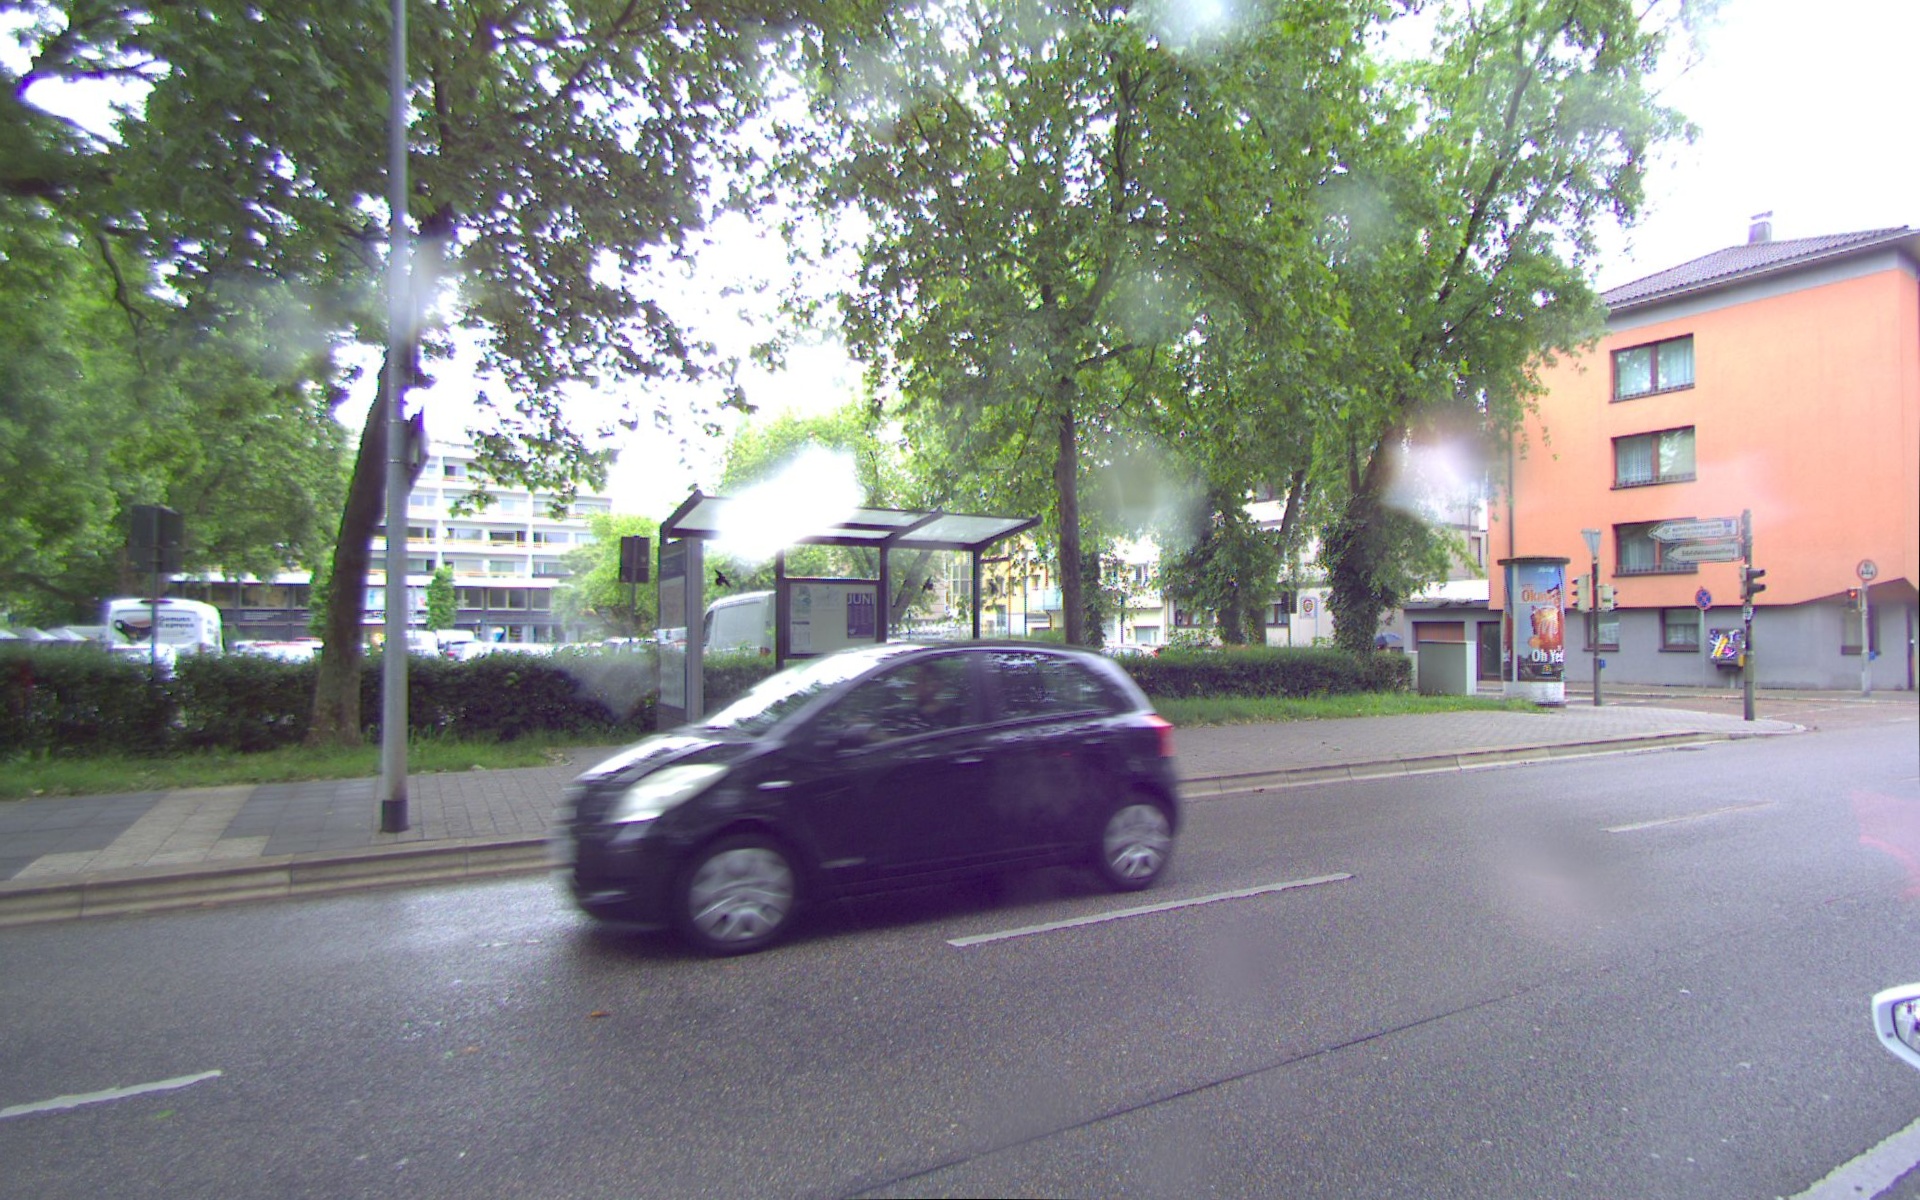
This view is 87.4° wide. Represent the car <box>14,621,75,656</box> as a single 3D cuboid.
[{"bbox_3d":[-40.918,1.691,44.925,1.412,1.447,2.941,1,0,-30],"label":"car"}]

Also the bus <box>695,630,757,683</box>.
[{"bbox_3d":[-7.836,1.866,33.515,1.363,1.698,2.779,1,-3,-28],"label":"bus"}]

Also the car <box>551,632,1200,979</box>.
[{"bbox_3d":[-0.436,0.973,5.971,3.525,1.507,1.560,1,-4,-30],"label":"car"}]

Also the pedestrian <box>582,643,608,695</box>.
[{"bbox_3d":[-8.884,1.678,24.465,0.462,1.229,0.434,2,0,-37],"label":"pedestrian"}]

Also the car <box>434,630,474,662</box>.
[{"bbox_3d":[-27.291,2.455,54.117,1.622,1.544,3.174,2,0,-32],"label":"car"}]

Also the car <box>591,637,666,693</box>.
[{"bbox_3d":[-9.118,1.747,27.497,1.375,1.454,3.248,1,-3,-29],"label":"car"}]

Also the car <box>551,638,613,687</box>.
[{"bbox_3d":[-11.964,1.943,31.673,1.375,1.454,3.248,1,-3,-29],"label":"car"}]

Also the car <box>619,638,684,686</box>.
[{"bbox_3d":[-9.999,1.979,32.466,1.375,1.454,3.248,1,-3,-29],"label":"car"}]

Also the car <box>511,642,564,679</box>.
[{"bbox_3d":[-17.429,2.462,41.397,1.587,1.447,3.293,2,-3,-30],"label":"car"}]

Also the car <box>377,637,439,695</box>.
[{"bbox_3d":[-14.739,1.730,26.843,1.375,1.454,3.248,1,-3,-29],"label":"car"}]

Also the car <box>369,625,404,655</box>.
[{"bbox_3d":[-33.092,2.267,57.942,1.622,1.544,3.174,1,1,-32],"label":"car"}]

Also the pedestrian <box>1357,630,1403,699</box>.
[{"bbox_3d":[11.344,1.713,27.090,0.977,1.765,1.207,1,0,30],"label":"pedestrian"}]

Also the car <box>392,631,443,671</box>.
[{"bbox_3d":[-20.907,1.946,38.680,1.587,1.447,3.293,2,-3,-30],"label":"car"}]

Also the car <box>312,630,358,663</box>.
[{"bbox_3d":[-31.428,2.313,50.576,1.818,1.444,3.799,2,0,-31],"label":"car"}]

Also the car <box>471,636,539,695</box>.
[{"bbox_3d":[-12.096,1.712,26.641,1.375,1.454,3.248,1,-3,-29],"label":"car"}]

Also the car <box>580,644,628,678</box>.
[{"bbox_3d":[-15.204,2.580,42.821,1.332,1.401,3.141,2,-3,-30],"label":"car"}]

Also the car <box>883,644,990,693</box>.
[{"bbox_3d":[-0.840,2.227,33.510,1.799,1.536,3.965,2,-3,-33],"label":"car"}]

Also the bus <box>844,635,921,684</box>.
[{"bbox_3d":[-2.469,1.850,31.542,1.364,1.451,2.777,2,-3,-30],"label":"bus"}]

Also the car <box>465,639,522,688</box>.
[{"bbox_3d":[-14.548,1.944,31.273,1.375,1.454,3.248,1,-3,-29],"label":"car"}]

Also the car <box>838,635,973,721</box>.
[{"bbox_3d":[-1.217,1.576,21.180,1.492,1.544,3.174,2,0,-32],"label":"car"}]

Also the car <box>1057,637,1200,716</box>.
[{"bbox_3d":[3.798,1.686,23.034,1.492,1.544,3.174,2,0,-32],"label":"car"}]

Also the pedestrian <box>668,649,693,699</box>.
[{"bbox_3d":[-7.016,1.850,25.201,0.462,1.229,0.434,2,0,-37],"label":"pedestrian"}]

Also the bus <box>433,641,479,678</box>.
[{"bbox_3d":[-22.378,2.611,44.563,1.587,1.559,3.403,2,-3,-30],"label":"bus"}]

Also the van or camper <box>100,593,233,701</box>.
[{"bbox_3d":[-20.704,1.227,26.414,2.074,2.570,4.391,1,-3,-30],"label":"van or camper"}]

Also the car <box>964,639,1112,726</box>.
[{"bbox_3d":[1.577,1.661,21.163,1.492,1.544,3.174,2,0,-32],"label":"car"}]

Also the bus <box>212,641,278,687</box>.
[{"bbox_3d":[-25.555,2.272,36.008,1.587,1.559,3.403,2,-3,-30],"label":"bus"}]

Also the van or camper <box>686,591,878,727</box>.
[{"bbox_3d":[-3.436,1.059,18.685,2.026,2.198,4.458,2,-3,-32],"label":"van or camper"}]

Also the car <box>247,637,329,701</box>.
[{"bbox_3d":[-16.517,1.668,24.781,1.375,1.454,3.248,1,-3,-29],"label":"car"}]
